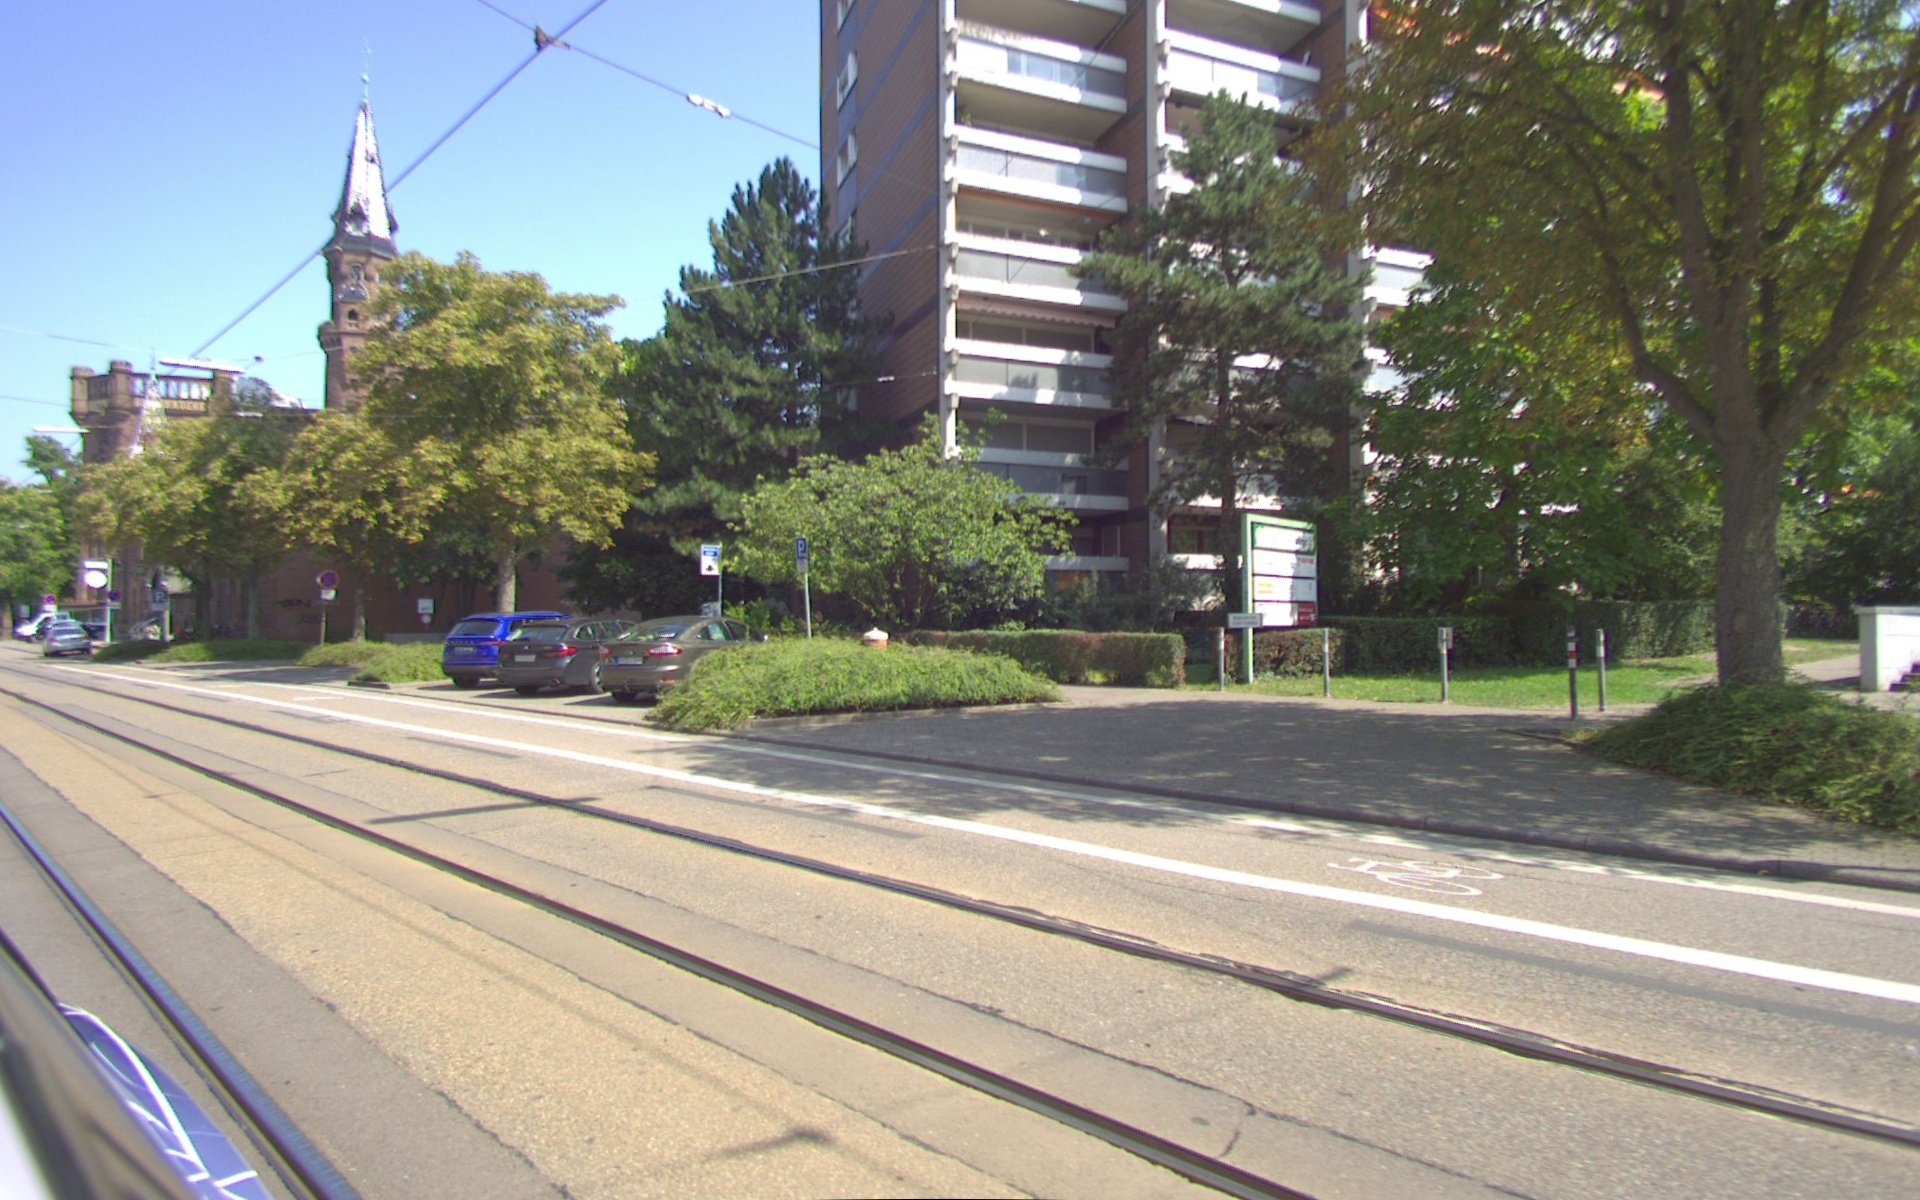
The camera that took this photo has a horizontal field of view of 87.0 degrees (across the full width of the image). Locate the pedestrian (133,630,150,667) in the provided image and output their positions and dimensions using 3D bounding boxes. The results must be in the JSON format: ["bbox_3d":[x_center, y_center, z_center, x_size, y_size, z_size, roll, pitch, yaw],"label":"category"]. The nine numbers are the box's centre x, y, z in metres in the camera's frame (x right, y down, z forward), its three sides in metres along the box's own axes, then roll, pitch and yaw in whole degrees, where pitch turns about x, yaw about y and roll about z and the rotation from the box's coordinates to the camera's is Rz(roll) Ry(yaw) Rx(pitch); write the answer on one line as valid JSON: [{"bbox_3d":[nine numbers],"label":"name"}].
[{"bbox_3d":[-44.574,2.614,55.116,0.497,1.996,0.519,-1,-1,-4],"label":"pedestrian"}]

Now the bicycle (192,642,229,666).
[{"bbox_3d":[-38.854,2.779,52.481,0.376,1.070,1.434,-2,3,31],"label":"bicycle"}]

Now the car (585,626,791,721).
[{"bbox_3d":[-4.828,1.259,18.639,1.764,1.508,4.274,-2,-2,15],"label":"car"}]

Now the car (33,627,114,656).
[{"bbox_3d":[-67.229,3.119,76.779,2.000,1.811,4.349,-3,2,44],"label":"car"}]

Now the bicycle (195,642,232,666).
[{"bbox_3d":[-38.574,2.769,52.297,0.376,1.070,1.434,-2,3,31],"label":"bicycle"}]

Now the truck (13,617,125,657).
[{"bbox_3d":[-71.366,2.937,81.145,2.317,2.543,6.427,-3,2,42],"label":"truck"}]

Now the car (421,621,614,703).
[{"bbox_3d":[-9.830,1.332,22.812,1.827,1.660,3.976,-2,-2,18],"label":"car"}]

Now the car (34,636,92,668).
[{"bbox_3d":[-46.150,2.652,52.033,4.515,1.513,1.913,-2,-2,44],"label":"car"}]

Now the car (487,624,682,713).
[{"bbox_3d":[-7.421,1.304,20.437,1.764,1.582,3.981,-2,-2,14],"label":"car"}]
